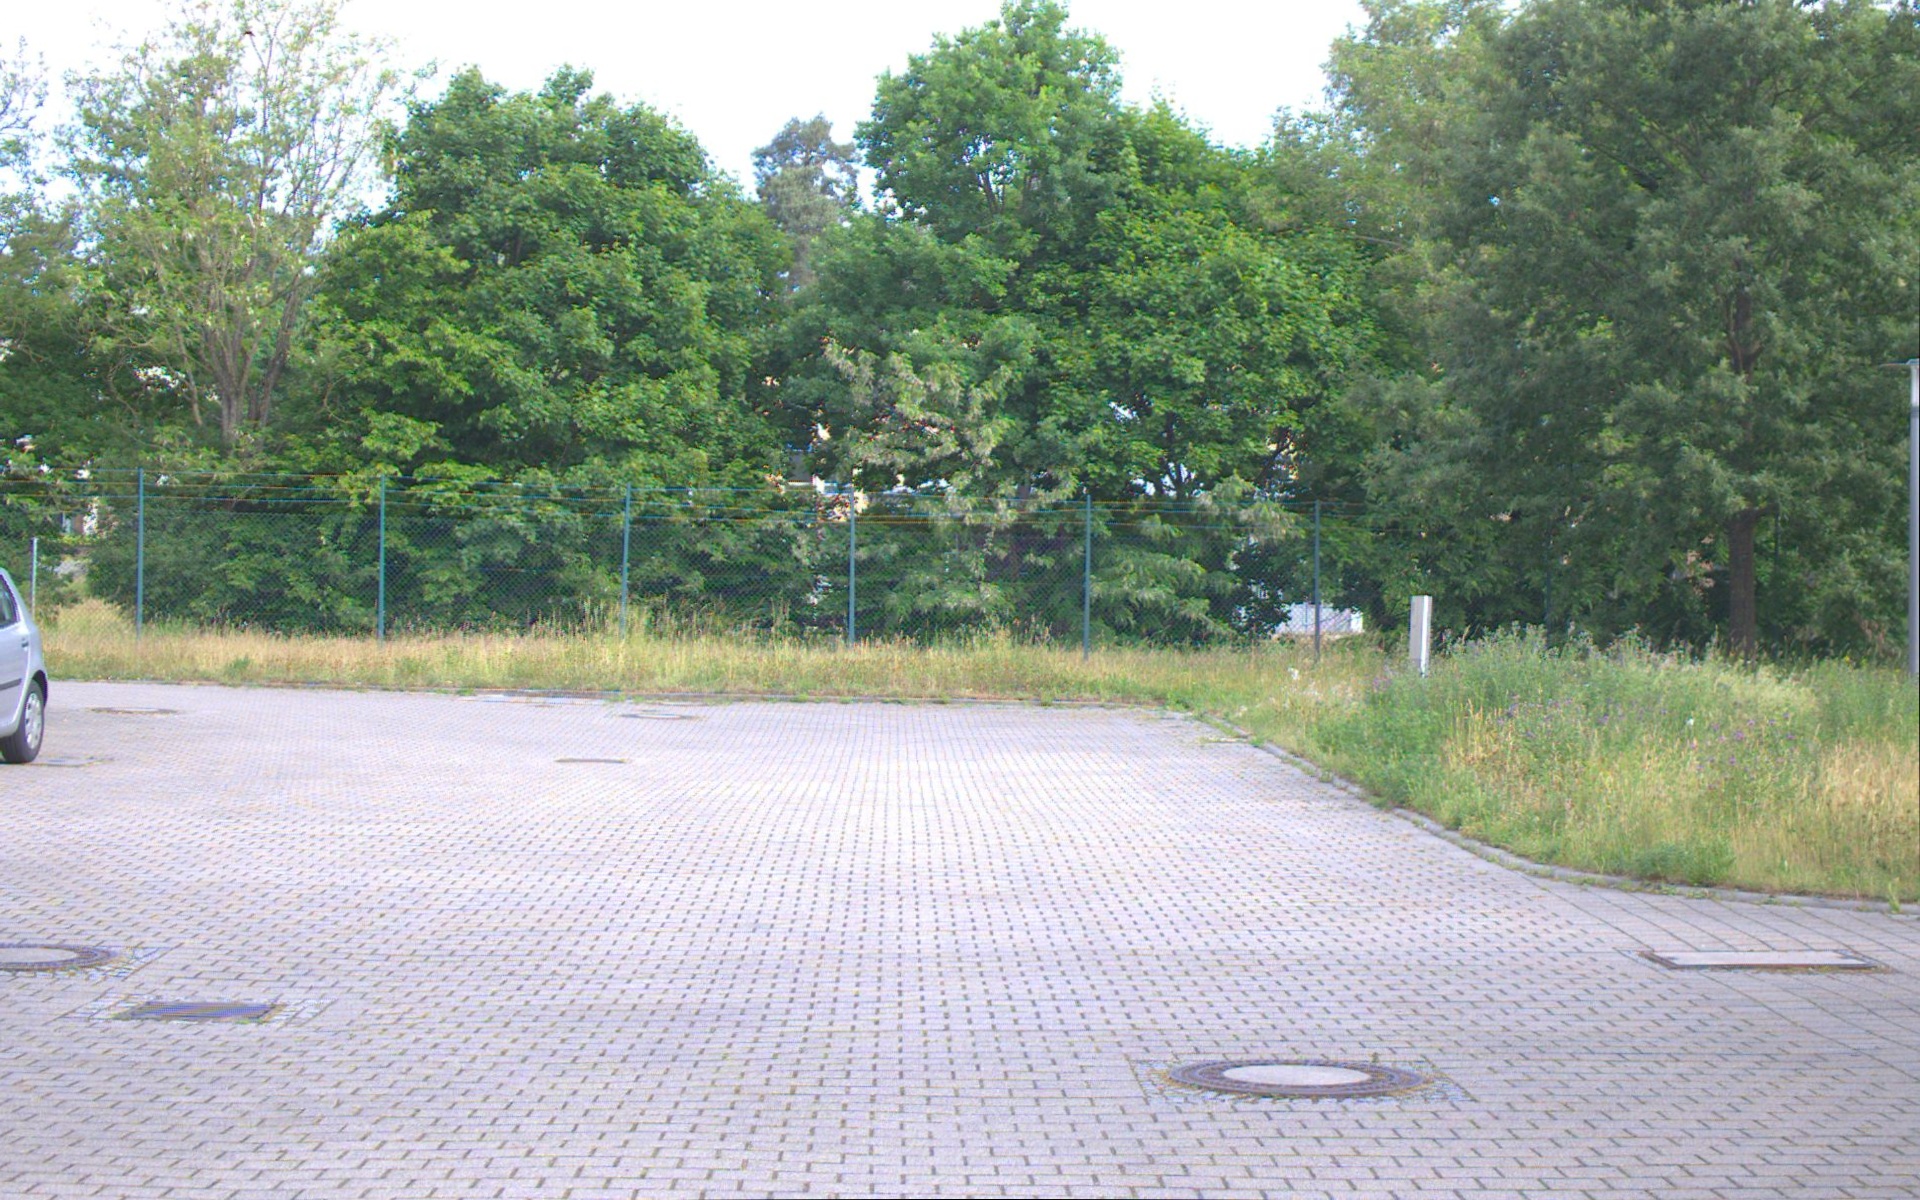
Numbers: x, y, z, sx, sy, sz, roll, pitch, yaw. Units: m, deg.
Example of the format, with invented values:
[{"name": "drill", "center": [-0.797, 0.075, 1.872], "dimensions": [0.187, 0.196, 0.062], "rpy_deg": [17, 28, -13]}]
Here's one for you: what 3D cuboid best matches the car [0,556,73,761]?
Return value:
[{"name": "car", "center": [-7.670, 0.392, 24.064], "dimensions": [1.924, 1.434, 4.368], "rpy_deg": [1, 0, -2]}]
